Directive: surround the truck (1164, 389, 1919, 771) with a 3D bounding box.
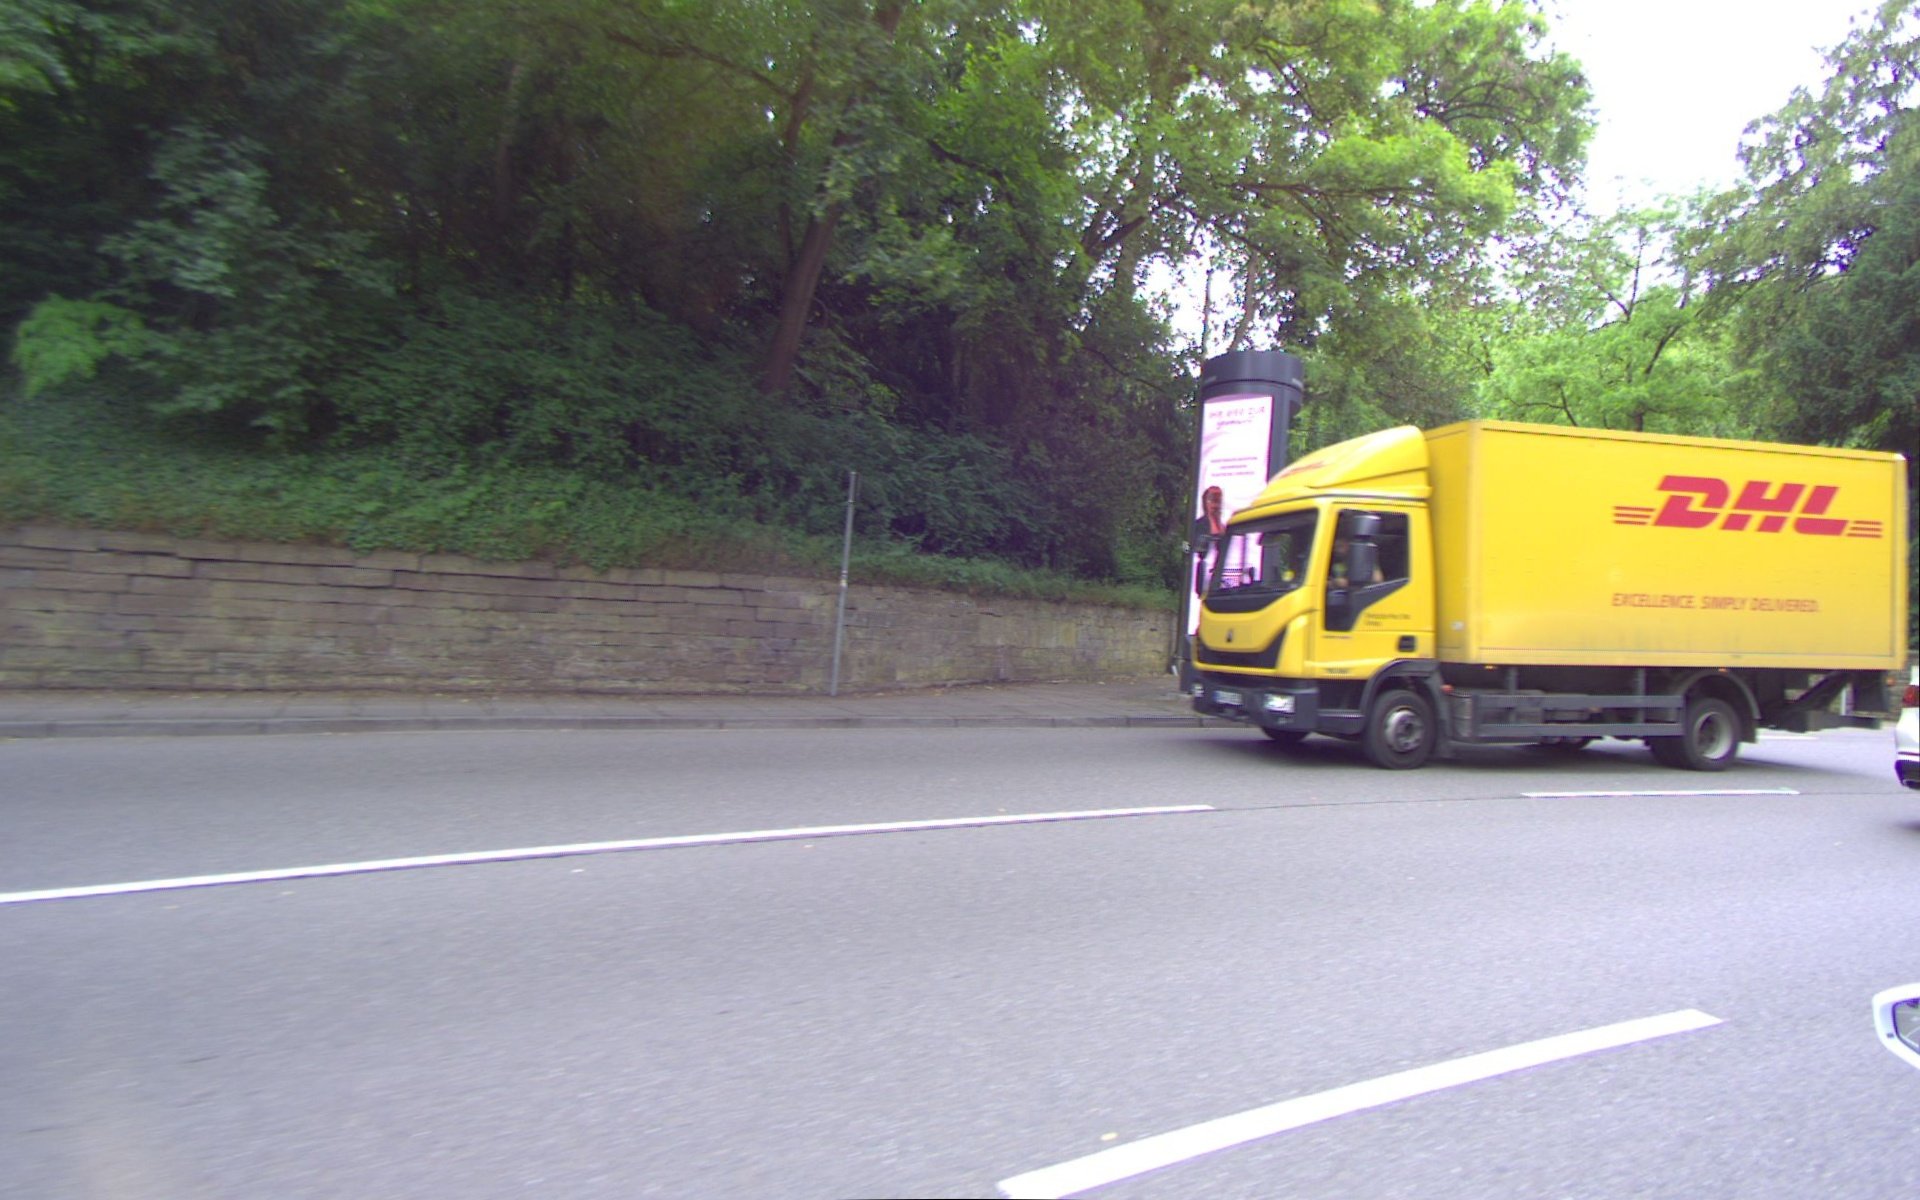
[{"bbox_3d":[6.293,-0.024,10.974,7.452,3.344,2.752,2,-1,-13],"label":"truck"}]

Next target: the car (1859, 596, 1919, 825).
[{"bbox_3d":[9.245,0.895,7.121,4.589,1.627,1.861,2,1,-12],"label":"car"}]
